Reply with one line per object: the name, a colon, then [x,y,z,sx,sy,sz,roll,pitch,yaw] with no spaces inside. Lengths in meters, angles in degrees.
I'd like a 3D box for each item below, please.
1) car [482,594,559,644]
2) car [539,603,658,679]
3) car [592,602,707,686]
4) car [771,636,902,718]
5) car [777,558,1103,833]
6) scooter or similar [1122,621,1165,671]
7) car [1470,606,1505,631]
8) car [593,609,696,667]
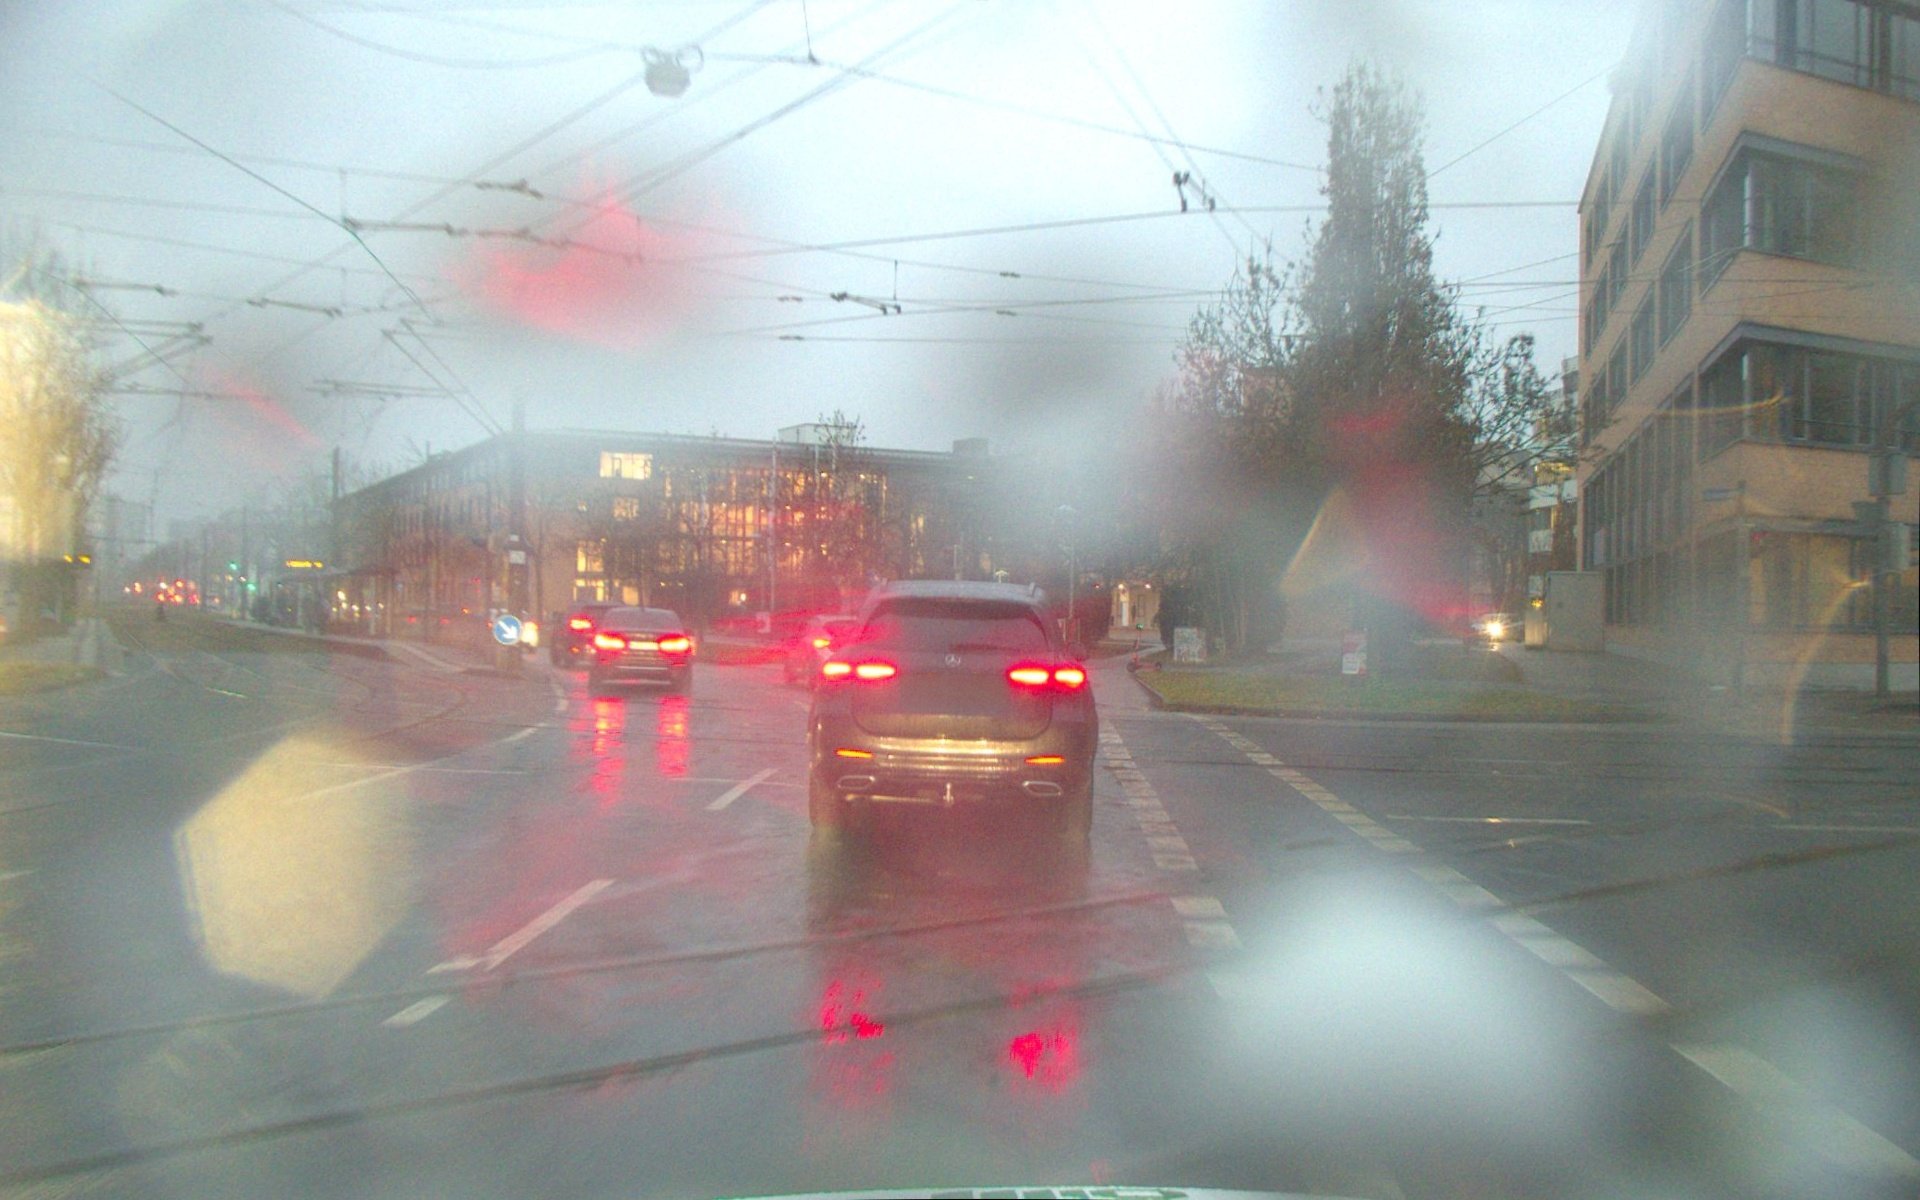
car: [-15.099,0.625,56.681,1.968,1.646,3.970,0,0,-24]
car: [-9.152,0.981,41.662,1.971,1.796,3.963,0,0,-28]
car: [-5.739,0.763,30.546,1.958,1.422,3.989,0,0,-11]
car: [-2.557,1.498,33.338,1.960,1.432,3.985,0,0,-14]
car: [-0.129,0.574,11.927,1.950,1.644,4.000,0,0,0]
scooter or similar: [4.702,1.168,42.331,1.137,1.253,0.479,1,0,-45]
car: [26.599,0.921,83.433,1.632,1.201,3.710,0,0,17]
car: [-9.590,1.109,50.076,1.971,1.646,3.963,0,0,-28]
